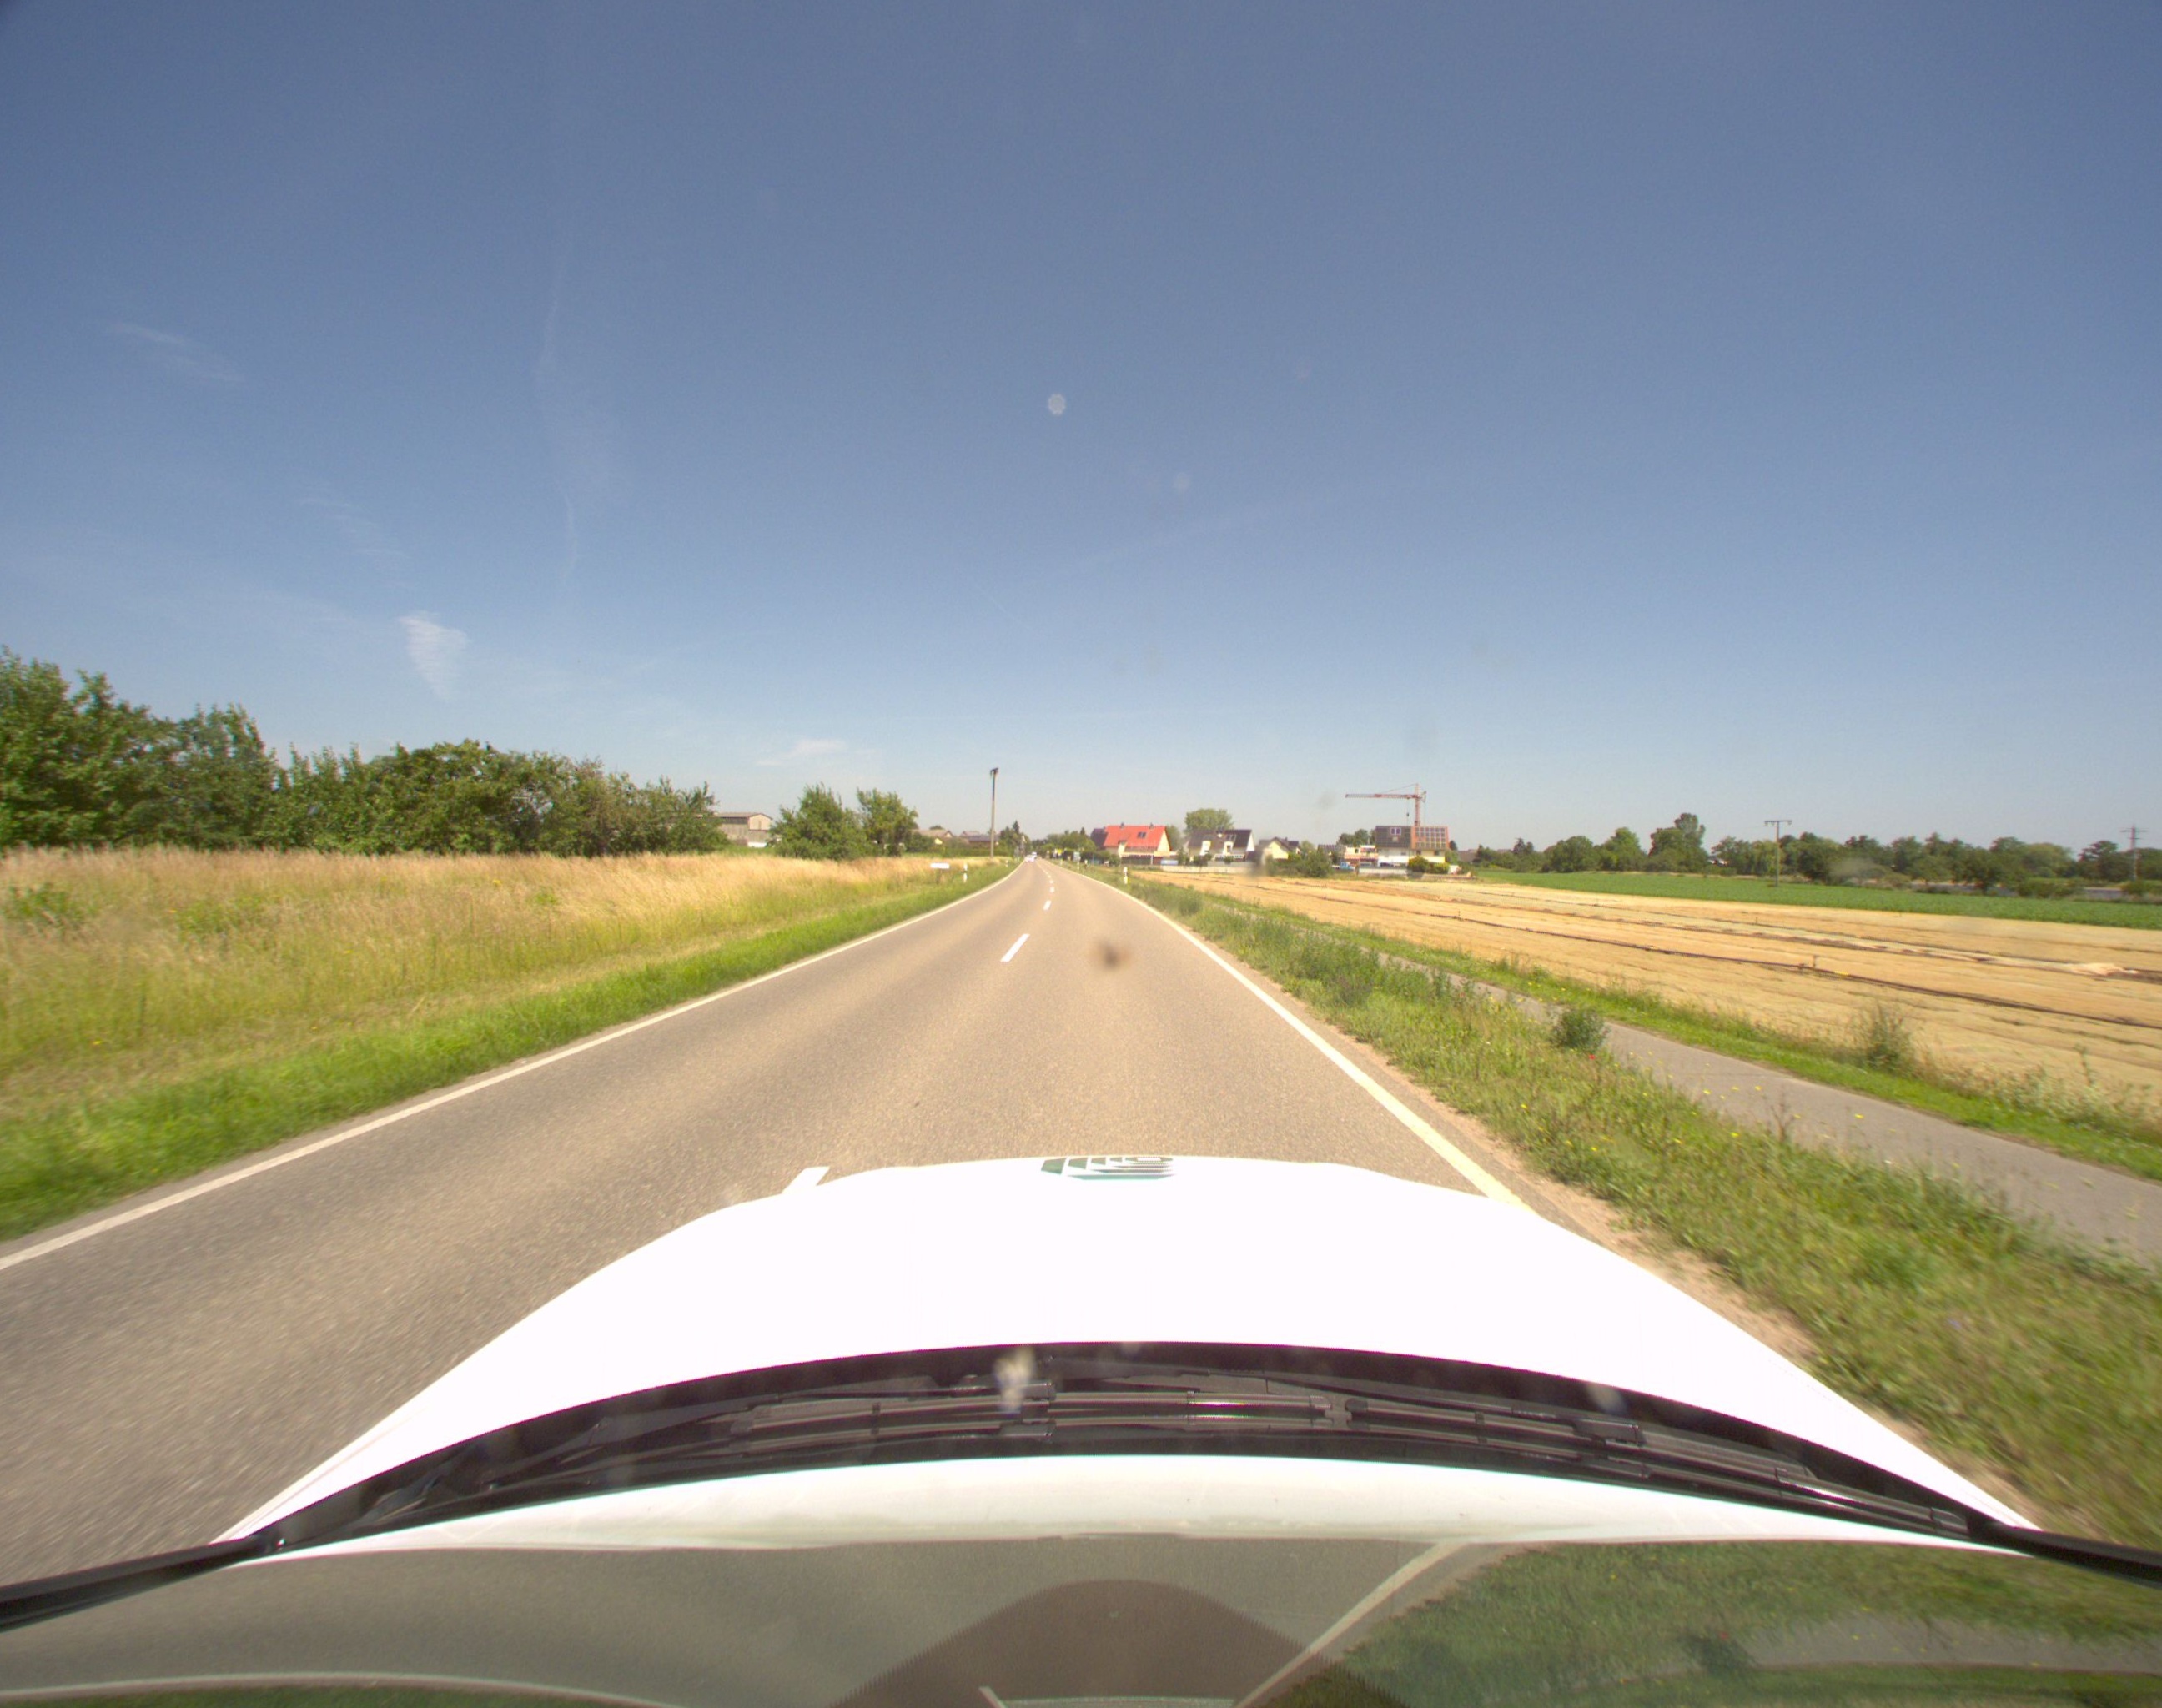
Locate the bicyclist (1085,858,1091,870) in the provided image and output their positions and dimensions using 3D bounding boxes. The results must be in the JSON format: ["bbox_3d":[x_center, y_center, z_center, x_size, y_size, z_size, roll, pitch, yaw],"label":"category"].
[{"bbox_3d":[1.096,1.575,128.733,0.644,1.889,0.859,3,0,-5],"label":"bicyclist"}]

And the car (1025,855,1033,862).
[{"bbox_3d":[-11.364,1.046,178.987,1.788,1.409,4.180,1,0,-4],"label":"car"}]

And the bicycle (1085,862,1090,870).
[{"bbox_3d":[1.070,1.945,128.799,0.609,1.158,2.271,3,1,-4],"label":"bicycle"}]

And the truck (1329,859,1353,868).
[{"bbox_3d":[64.203,2.341,200.975,5.506,2.230,2.226,1,-1,21],"label":"truck"}]
